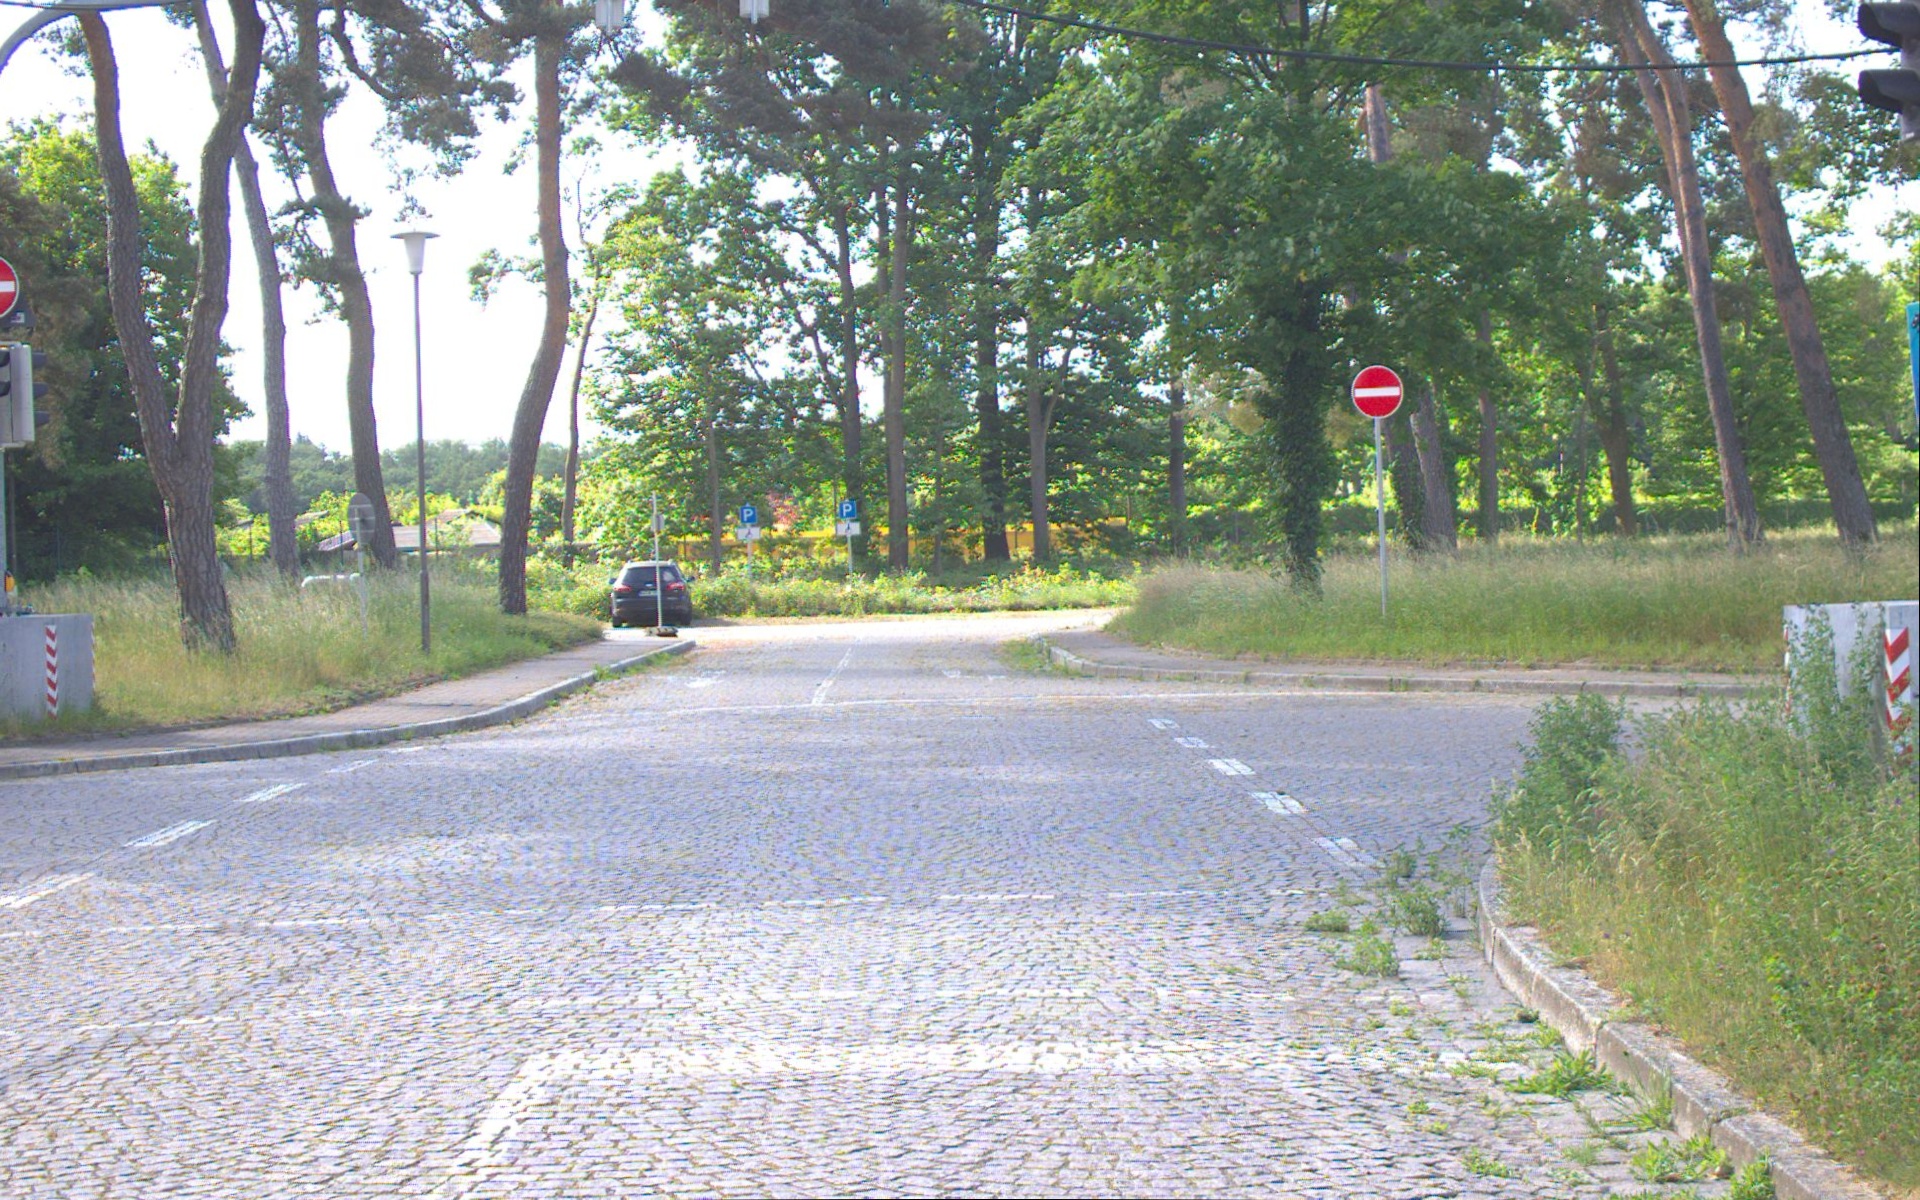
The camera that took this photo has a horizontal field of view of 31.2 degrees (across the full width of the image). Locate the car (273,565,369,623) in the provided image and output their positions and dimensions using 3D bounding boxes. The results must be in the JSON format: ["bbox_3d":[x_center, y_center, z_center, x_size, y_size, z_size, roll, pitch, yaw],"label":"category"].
[{"bbox_3d":[-15.204,-0.151,81.907,1.709,1.269,3.919,-2,1,-3],"label":"car"}]

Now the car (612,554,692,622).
[{"bbox_3d":[-7.257,-0.306,81.220,1.709,1.491,3.919,-2,1,-3],"label":"car"}]
